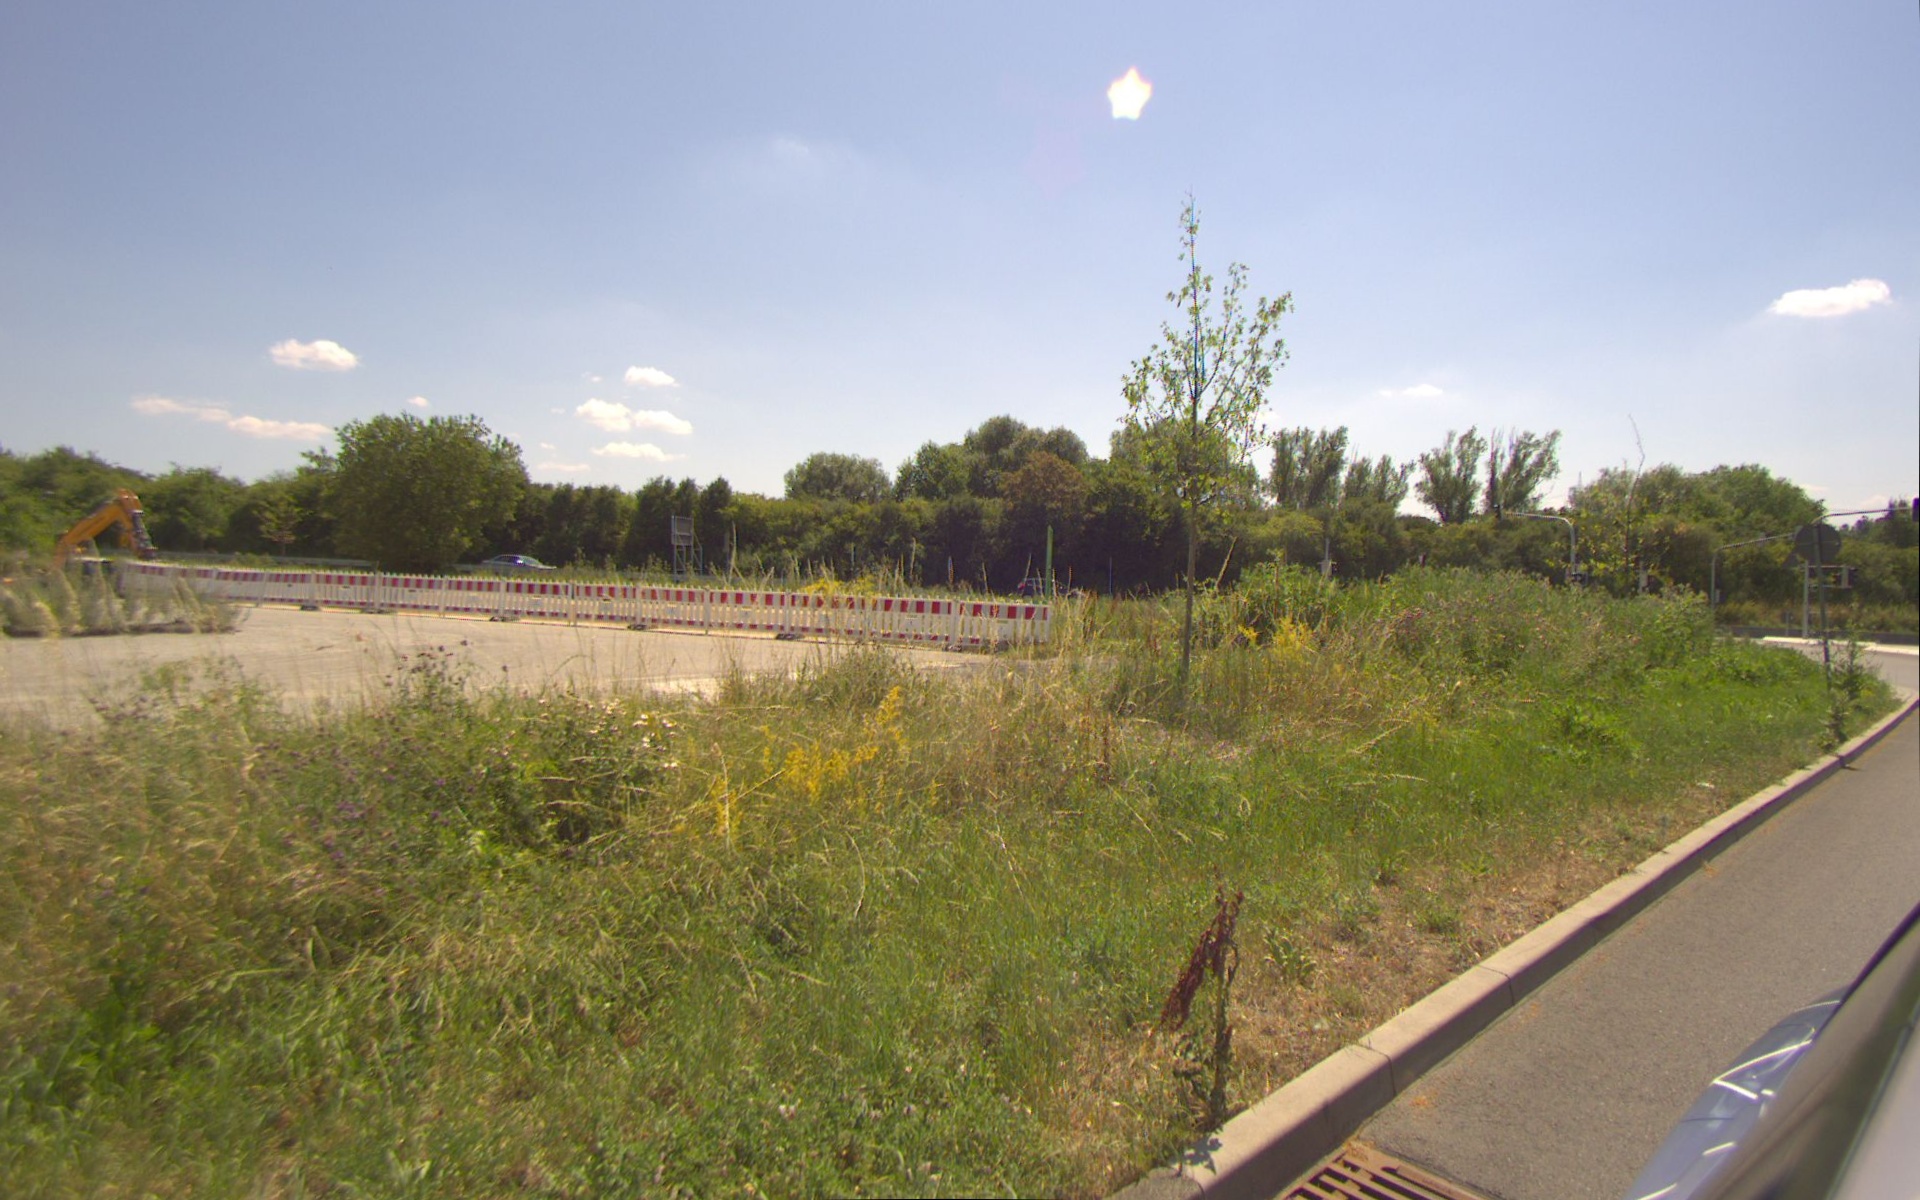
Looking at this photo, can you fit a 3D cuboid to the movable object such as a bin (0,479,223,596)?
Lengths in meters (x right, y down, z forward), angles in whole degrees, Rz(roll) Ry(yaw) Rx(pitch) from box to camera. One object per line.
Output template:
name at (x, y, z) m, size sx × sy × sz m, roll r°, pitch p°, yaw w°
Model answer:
movable object such as a bin at (-34.035, -2.474, 40.322) m, size 7.986 × 4.095 × 2.975 m, roll 4°, pitch 0°, yaw 14°

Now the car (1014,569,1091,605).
car at (4.956, -0.704, 54.346) m, size 3.930 × 1.660 × 1.779 m, roll 4°, pitch 0°, yaw 6°
